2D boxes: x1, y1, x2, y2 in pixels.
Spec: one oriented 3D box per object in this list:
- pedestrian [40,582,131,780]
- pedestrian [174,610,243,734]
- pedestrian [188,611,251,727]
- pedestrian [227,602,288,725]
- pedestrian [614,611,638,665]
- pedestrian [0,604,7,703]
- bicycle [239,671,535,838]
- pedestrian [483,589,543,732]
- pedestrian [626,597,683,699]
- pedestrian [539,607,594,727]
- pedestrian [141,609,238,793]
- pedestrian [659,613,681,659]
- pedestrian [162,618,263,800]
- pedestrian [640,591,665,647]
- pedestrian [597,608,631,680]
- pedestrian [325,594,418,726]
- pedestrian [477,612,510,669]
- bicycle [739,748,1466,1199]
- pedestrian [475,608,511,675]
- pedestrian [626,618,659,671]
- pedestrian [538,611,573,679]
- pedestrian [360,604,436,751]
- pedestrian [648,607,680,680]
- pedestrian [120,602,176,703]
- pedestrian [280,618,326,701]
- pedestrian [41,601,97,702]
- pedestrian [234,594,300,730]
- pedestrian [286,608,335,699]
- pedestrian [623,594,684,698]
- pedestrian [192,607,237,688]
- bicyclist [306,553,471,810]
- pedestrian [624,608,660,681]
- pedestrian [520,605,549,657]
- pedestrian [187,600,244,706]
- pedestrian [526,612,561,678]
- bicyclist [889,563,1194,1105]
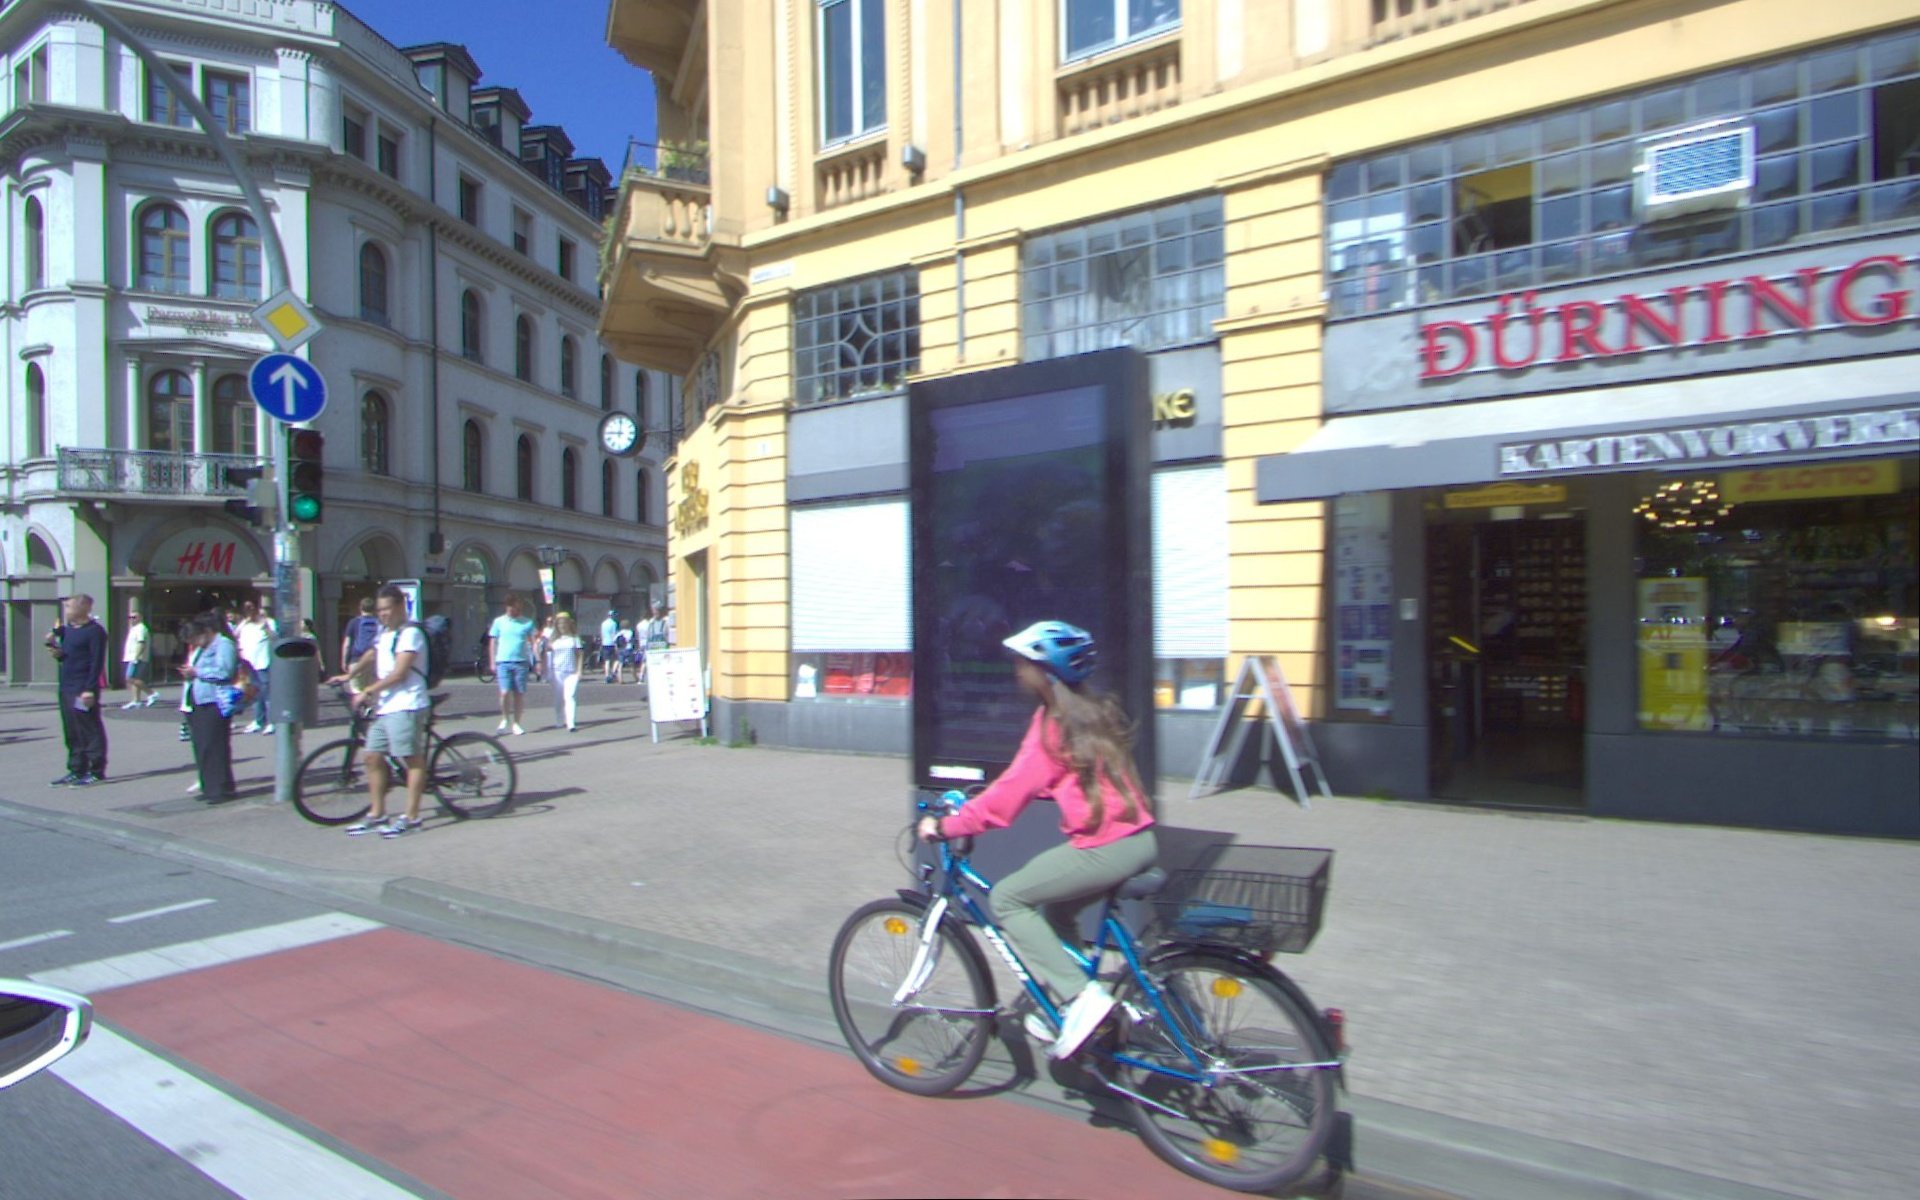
[{"bbox_3d":[-8.794,0.790,10.073,0.633,1.923,0.521,-1,0,35],"label":"pedestrian"},{"bbox_3d":[-10.207,0.958,13.602,0.632,1.633,0.521,-1,0,32],"label":"pedestrian"},{"bbox_3d":[-10.790,0.987,14.588,0.632,1.630,0.521,-1,0,32],"label":"pedestrian"},{"bbox_3d":[-10.107,0.903,14.414,0.528,1.725,0.521,-1,0,32],"label":"pedestrian"},{"bbox_3d":[-12.091,1.373,36.235,0.557,1.893,0.659,1,-1,7],"label":"pedestrian"},{"bbox_3d":[-18.061,0.982,18.424,0.668,1.830,0.609,-1,-1,30],"label":"pedestrian"},{"bbox_3d":[-4.209,1.122,7.447,1.803,1.097,0.602,-1,2,-3],"label":"bicycle"},{"bbox_3d":[-5.893,0.785,13.223,0.578,1.825,0.550,-1,0,-12],"label":"pedestrian"},{"bbox_3d":[-5.655,0.877,18.569,0.783,1.847,0.618,-1,0,32],"label":"pedestrian"},{"bbox_3d":[-5.376,0.896,13.709,0.578,1.590,0.550,-1,0,-12],"label":"pedestrian"},{"bbox_3d":[-7.232,0.921,9.405,0.581,1.652,0.547,-1,0,35],"label":"pedestrian"},{"bbox_3d":[-11.131,1.379,38.440,0.557,1.717,0.659,1,-1,7],"label":"pedestrian"},{"bbox_3d":[-6.647,0.935,8.903,0.633,1.541,0.521,-1,0,35],"label":"pedestrian"},{"bbox_3d":[-10.558,0.654,34.361,0.557,1.893,0.659,1,-1,7],"label":"pedestrian"},{"bbox_3d":[-9.264,1.165,26.830,0.664,1.893,0.542,1,-1,2],"label":"pedestrian"},{"bbox_3d":[-8.447,0.854,14.365,1.216,1.812,0.656,-3,-2,32],"label":"pedestrian"},{"bbox_3d":[-14.138,1.227,30.341,0.665,1.701,0.611,-1,0,10],"label":"pedestrian"},{"bbox_3d":[0.313,0.994,2.950,2.057,0.938,0.599,-1,-1,32],"label":"bicycle"},{"bbox_3d":[-12.353,1.086,26.496,0.664,1.738,0.542,1,-1,2],"label":"pedestrian"},{"bbox_3d":[-10.062,1.402,31.733,0.745,1.638,0.660,1,-1,7],"label":"pedestrian"},{"bbox_3d":[-10.930,1.210,27.080,0.664,1.793,0.542,1,-1,2],"label":"pedestrian"},{"bbox_3d":[-6.572,0.884,11.714,0.581,1.661,0.547,-1,0,35],"label":"pedestrian"},{"bbox_3d":[-7.802,1.133,26.433,0.557,1.893,0.659,1,-1,7],"label":"pedestrian"},{"bbox_3d":[-15.050,0.958,18.562,0.668,1.830,0.609,-1,-1,30],"label":"pedestrian"},{"bbox_3d":[-13.390,1.201,20.403,0.668,1.654,0.539,-1,-1,30],"label":"pedestrian"},{"bbox_3d":[-16.753,0.958,18.827,0.668,1.847,0.609,-1,-1,30],"label":"pedestrian"},{"bbox_3d":[-9.644,0.847,13.941,0.632,1.847,0.521,-1,0,32],"label":"pedestrian"},{"bbox_3d":[-12.633,1.037,19.492,0.667,1.738,0.540,-1,-1,28],"label":"pedestrian"},{"bbox_3d":[-5.638,0.846,18.466,0.771,1.847,0.808,-2,-2,9],"label":"pedestrian"},{"bbox_3d":[-16.762,1.061,22.509,0.668,1.786,0.609,-1,-1,30],"label":"pedestrian"},{"bbox_3d":[-4.214,0.576,7.433,0.840,1.822,0.575,-1,2,-3],"label":"bicyclist"},{"bbox_3d":[-8.406,1.175,26.499,0.668,1.893,0.659,1,-1,7],"label":"pedestrian"},{"bbox_3d":[-13.401,0.968,31.519,0.557,1.621,0.660,1,-1,7],"label":"pedestrian"},{"bbox_3d":[-13.485,0.947,18.150,0.534,1.879,0.675,-1,-1,30],"label":"pedestrian"},{"bbox_3d":[-11.290,1.214,27.140,0.664,1.738,0.542,1,-1,2],"label":"pedestrian"},{"bbox_3d":[0.253,0.606,2.991,0.710,1.375,0.599,-1,-1,32],"label":"bicyclist"}]
